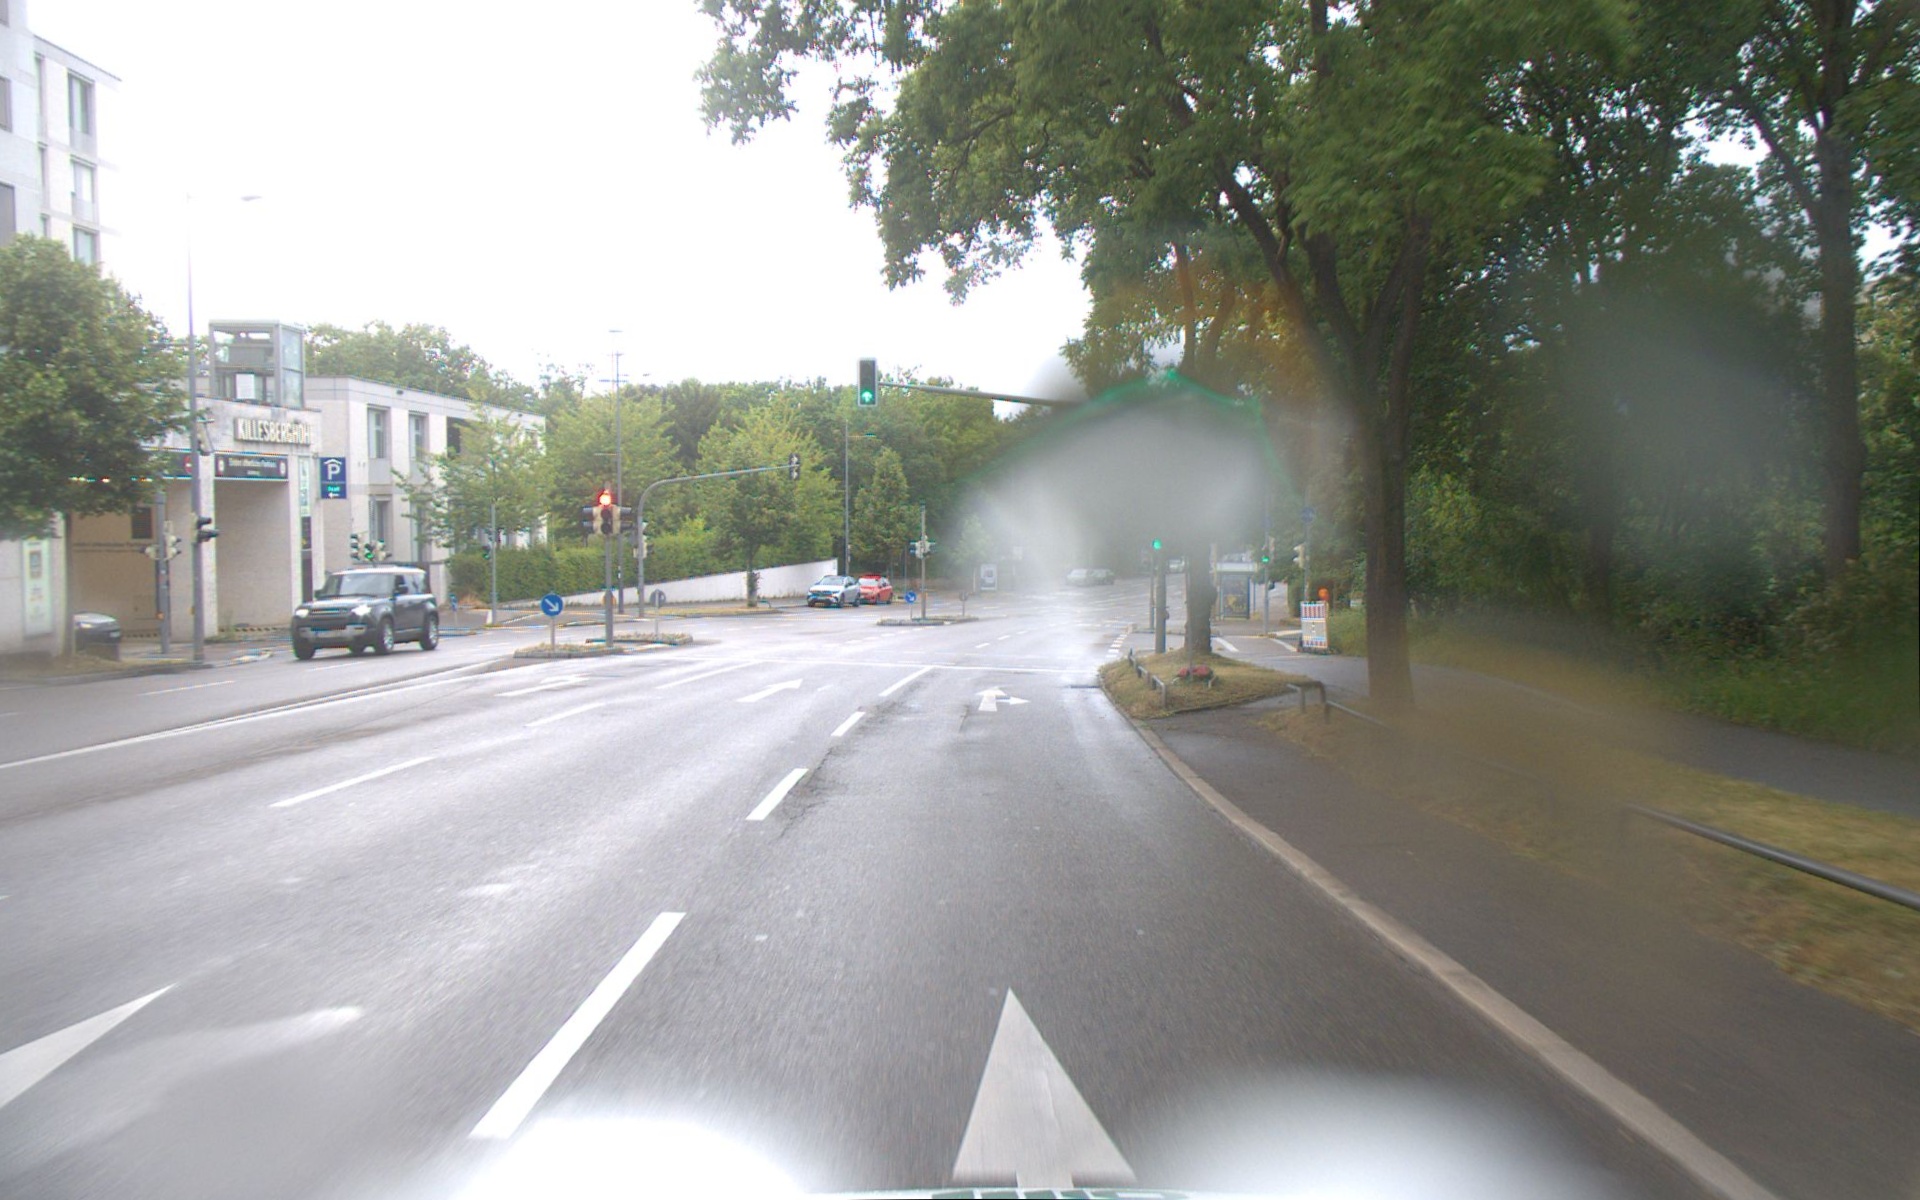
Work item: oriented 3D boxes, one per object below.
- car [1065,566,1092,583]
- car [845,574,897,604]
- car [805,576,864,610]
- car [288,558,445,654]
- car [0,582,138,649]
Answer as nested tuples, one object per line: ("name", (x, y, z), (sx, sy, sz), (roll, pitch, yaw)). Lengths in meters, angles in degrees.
("car", (10.670, -2.305, 148.653), (1.677, 1.486, 3.752), (1, 1, 17))
("car", (-5.156, -0.632, 96.178), (1.835, 1.602, 4.226), (3, 1, 13))
("car", (-6.741, -0.381, 88.971), (1.814, 1.668, 4.097), (4, 2, 15))
("car", (-13.087, 0.093, 36.772), (1.882, 1.889, 4.505), (-3, 1, -2))
("car", (-24.416, 0.398, 43.676), (4.411, 1.701, 1.927), (0, 0, -3))
